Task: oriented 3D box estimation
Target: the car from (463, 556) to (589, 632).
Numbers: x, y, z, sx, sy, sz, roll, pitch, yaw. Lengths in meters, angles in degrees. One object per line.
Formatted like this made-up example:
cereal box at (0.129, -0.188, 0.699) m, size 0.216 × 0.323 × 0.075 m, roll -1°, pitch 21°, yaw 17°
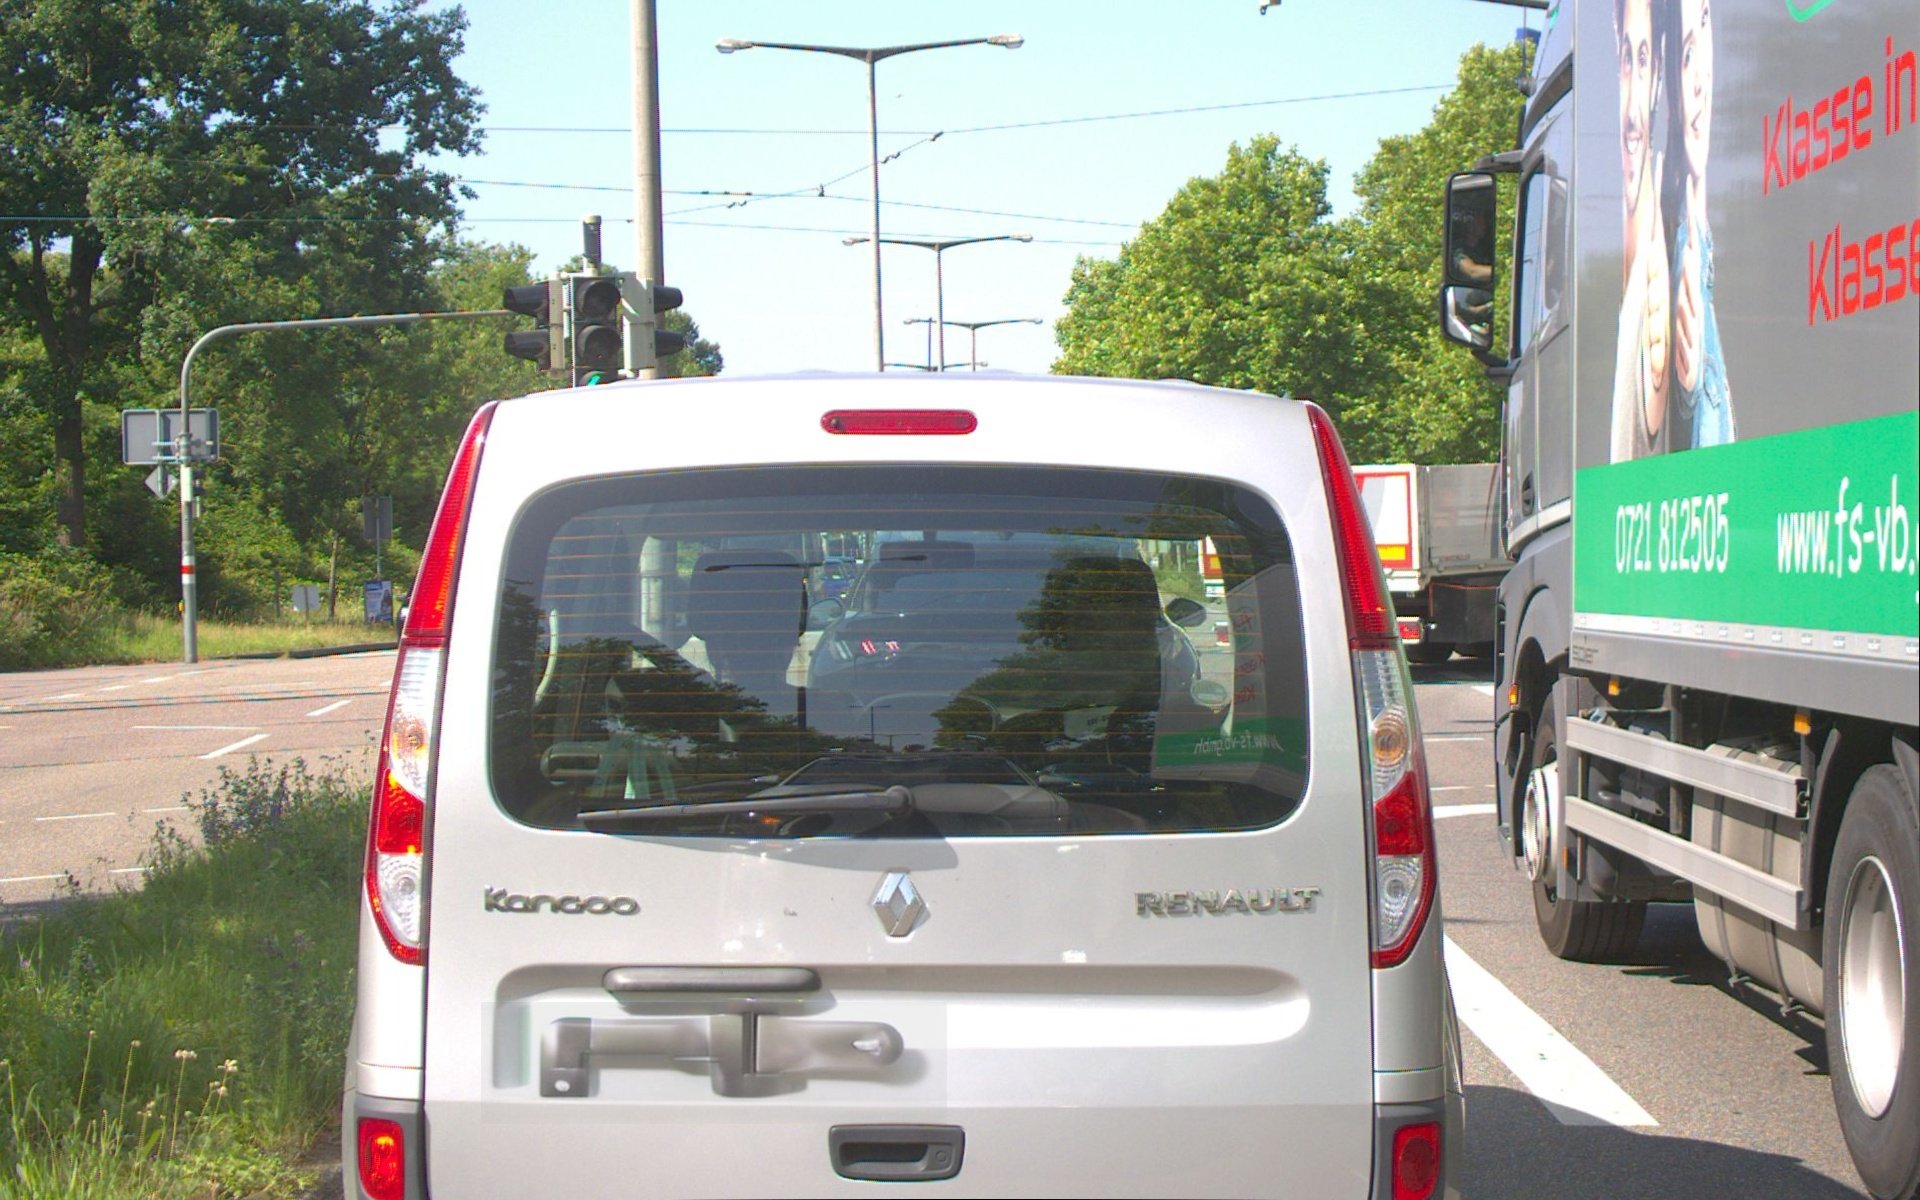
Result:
car at (-9.282, -0.143, 73.829) m, size 1.994 × 1.535 × 4.236 m, roll -2°, pitch 0°, yaw 2°

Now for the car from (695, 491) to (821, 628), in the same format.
car at (-4.027, -0.806, 69.317) m, size 1.994 × 2.598 × 5.133 m, roll -2°, pitch 0°, yaw 2°

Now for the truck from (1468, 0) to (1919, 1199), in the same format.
truck at (3.306, -0.609, 9.614) m, size 2.729 × 3.876 × 8.722 m, roll -1°, pitch 0°, yaw 2°

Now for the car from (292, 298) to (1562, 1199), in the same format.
car at (-0.073, 0.482, 6.882) m, size 1.786 × 1.831 × 4.000 m, roll 1°, pitch 0°, yaw -1°

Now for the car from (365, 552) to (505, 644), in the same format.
car at (-9.904, -0.052, 65.075) m, size 1.911 × 1.636 × 3.737 m, roll -2°, pitch 0°, yaw 2°

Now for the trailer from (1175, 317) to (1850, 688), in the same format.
trailer at (6.809, -0.975, 39.589) m, size 2.905 × 3.610 × 12.662 m, roll 1°, pitch 1°, yaw 32°
